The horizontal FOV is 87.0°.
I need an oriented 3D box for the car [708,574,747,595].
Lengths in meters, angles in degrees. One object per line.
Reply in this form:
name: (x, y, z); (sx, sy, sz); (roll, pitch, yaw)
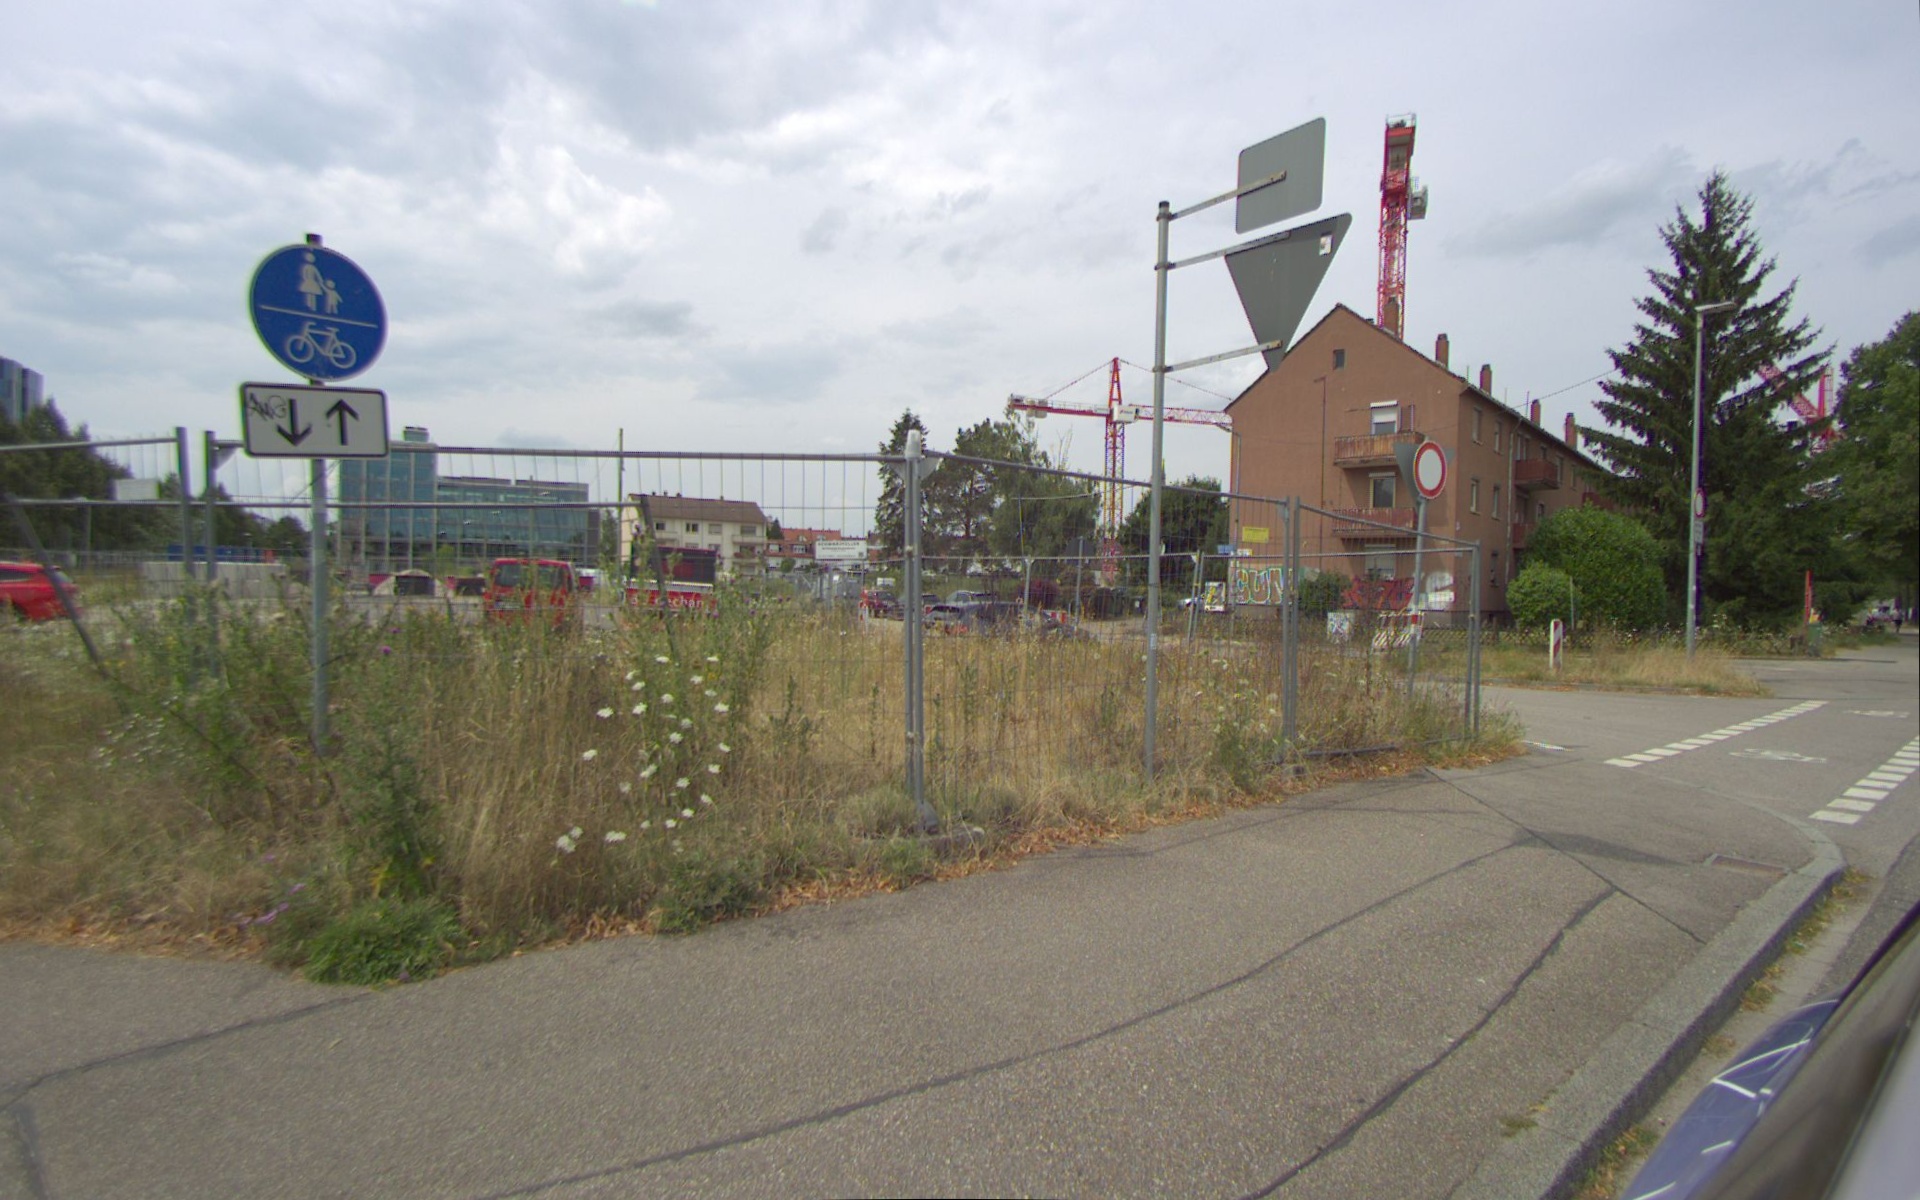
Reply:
car: (-17.479, -1.172, 75.954); (1.820, 1.525, 4.019); (1, 1, -28)

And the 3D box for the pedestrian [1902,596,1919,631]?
pedestrian: (57.391, 0.818, 60.851); (0.848, 2.039, 0.725); (1, 0, 28)

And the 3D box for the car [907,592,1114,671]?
car: (1.126, 0.623, 21.488); (4.178, 1.492, 1.767); (0, 1, -35)

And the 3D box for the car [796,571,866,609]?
car: (-7.862, -0.639, 61.361); (2.107, 2.163, 4.910); (1, 1, -35)

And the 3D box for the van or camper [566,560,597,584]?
van or camper: (-44.549, -3.279, 119.185); (2.306, 2.721, 5.248); (1, 1, -33)

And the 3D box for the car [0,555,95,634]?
car: (-20.184, -0.142, 20.064); (4.443, 1.552, 1.790); (0, 1, -35)

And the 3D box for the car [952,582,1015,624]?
car: (1.059, 0.093, 47.818); (1.764, 1.872, 4.009); (1, 1, -18)

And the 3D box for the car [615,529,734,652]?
car: (-6.692, -0.241, 23.646); (2.269, 2.442, 6.557); (1, 1, -16)

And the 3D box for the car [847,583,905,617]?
car: (-4.749, -0.038, 56.606); (1.819, 1.771, 4.020); (1, 1, -27)

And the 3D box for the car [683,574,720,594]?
car: (-21.138, -1.293, 82.548); (1.821, 1.554, 4.017); (1, 1, -31)

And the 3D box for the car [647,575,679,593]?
car: (-26.821, -1.419, 91.268); (1.821, 1.554, 4.017); (1, 1, -31)

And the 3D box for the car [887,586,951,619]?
car: (-2.168, 0.100, 52.192); (1.765, 1.622, 4.020); (1, 1, -27)

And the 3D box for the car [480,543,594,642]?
car: (-9.618, -0.187, 23.387); (1.896, 1.934, 4.999); (3, 0, -18)
